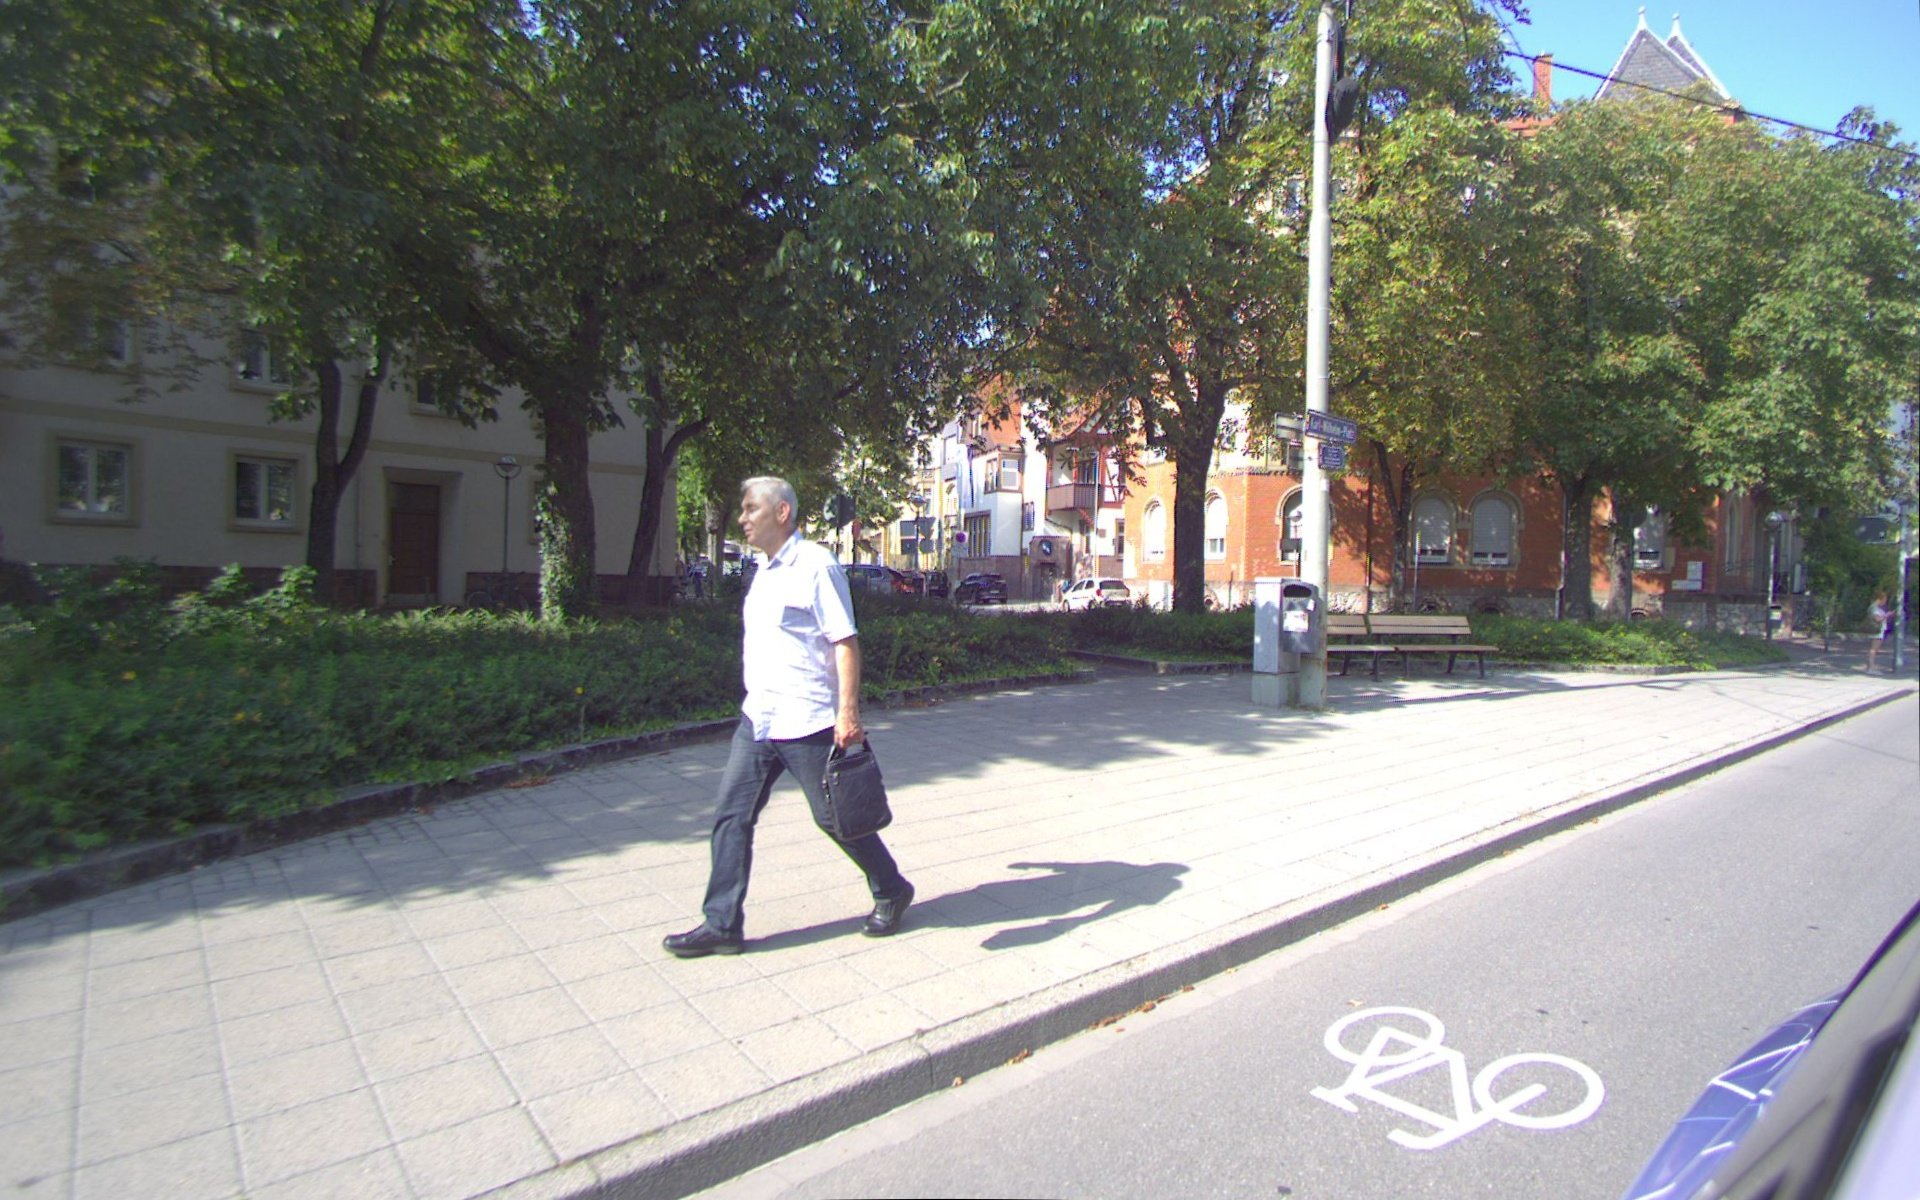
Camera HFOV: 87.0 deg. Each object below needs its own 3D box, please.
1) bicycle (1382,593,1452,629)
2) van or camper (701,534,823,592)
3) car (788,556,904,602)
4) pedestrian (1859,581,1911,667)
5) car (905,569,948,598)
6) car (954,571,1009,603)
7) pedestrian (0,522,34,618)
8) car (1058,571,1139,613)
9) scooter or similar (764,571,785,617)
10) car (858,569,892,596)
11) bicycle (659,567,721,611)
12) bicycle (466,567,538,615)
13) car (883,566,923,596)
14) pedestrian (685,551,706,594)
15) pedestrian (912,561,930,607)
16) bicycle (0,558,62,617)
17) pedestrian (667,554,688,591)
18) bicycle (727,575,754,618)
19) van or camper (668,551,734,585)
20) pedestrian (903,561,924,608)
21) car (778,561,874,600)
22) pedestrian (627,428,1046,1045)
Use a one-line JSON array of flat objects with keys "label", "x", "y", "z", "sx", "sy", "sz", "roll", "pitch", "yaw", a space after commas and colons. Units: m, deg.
[{"label": "bicycle", "x": 13.744, "y": 0.327, "z": 30.475, "sx": 1.805, "sy": 1.072, "sz": 0.608, "roll": 0, "pitch": -2, "yaw": 2}, {"label": "van or camper", "x": -11.807, "y": -2.154, "z": 60.400, "sx": 6.796, "sy": 2.919, "sz": 2.004, "roll": 4, "pitch": -2, "yaw": -21}, {"label": "car", "x": -4.380, "y": -0.798, "z": 38.892, "sx": 4.106, "sy": 1.658, "sz": 1.667, "roll": 1, "pitch": 1, "yaw": -20}, {"label": "pedestrian", "x": 19.139, "y": 0.495, "z": 20.934, "sx": 0.647, "sy": 1.739, "sz": 0.545, "roll": 1, "pitch": 1, "yaw": -25}, {"label": "car", "x": -2.146, "y": -1.053, "z": 63.234, "sx": 1.588, "sy": 1.722, "sz": 4.009, "roll": 1, "pitch": 1, "yaw": -19}, {"label": "car", "x": 1.099, "y": -0.724, "z": 53.311, "sx": 1.588, "sy": 1.586, "sz": 4.009, "roll": 1, "pitch": 1, "yaw": -19}, {"label": "pedestrian", "x": -17.198, "y": -0.532, "z": 18.074, "sx": 0.684, "sy": 1.692, "sz": 0.855, "roll": 2, "pitch": 1, "yaw": 35}, {"label": "car", "x": 5.529, "y": -0.367, "z": 40.856, "sx": 1.588, "sy": 1.586, "sz": 4.009, "roll": 1, "pitch": 1, "yaw": -19}, {"label": "scooter or similar", "x": -4.953, "y": -0.172, "z": 27.063, "sx": 0.433, "sy": 1.172, "sz": 1.114, "roll": 1, "pitch": 1, "yaw": -6}, {"label": "car", "x": -6.323, "y": -1.331, "z": 74.762, "sx": 1.588, "sy": 1.946, "sz": 4.009, "roll": 1, "pitch": 1, "yaw": -19}, {"label": "bicycle", "x": -6.927, "y": -0.295, "z": 25.926, "sx": 1.862, "sy": 1.071, "sz": 0.599, "roll": 2, "pitch": 1, "yaw": 41}, {"label": "bicycle", "x": -10.677, "y": -0.210, "z": 23.607, "sx": 1.460, "sy": 1.073, "sz": 0.417, "roll": 0, "pitch": 2, "yaw": -37}, {"label": "car", "x": -3.864, "y": -1.288, "z": 68.097, "sx": 1.588, "sy": 1.946, "sz": 4.009, "roll": 1, "pitch": 1, "yaw": -19}, {"label": "pedestrian", "x": -11.340, "y": -1.183, "z": 43.441, "sx": 0.754, "sy": 1.782, "sz": 0.860, "roll": 1, "pitch": 1, "yaw": -21}, {"label": "pedestrian", "x": -1.541, "y": -0.645, "z": 40.311, "sx": 0.581, "sy": 1.786, "sz": 0.605, "roll": 1, "pitch": 1, "yaw": 10}, {"label": "bicycle", "x": -17.002, "y": -0.223, "z": 17.692, "sx": 0.530, "sy": 1.019, "sz": 1.888, "roll": 2, "pitch": 1, "yaw": 31}, {"label": "pedestrian", "x": -12.052, "y": -1.181, "z": 43.177, "sx": 0.754, "sy": 1.566, "sz": 0.860, "roll": 1, "pitch": 1, "yaw": -21}, {"label": "bicycle", "x": -5.710, "y": -0.111, "z": 26.268, "sx": 0.596, "sy": 1.071, "sz": 1.843, "roll": 1, "pitch": 1, "yaw": -14}, {"label": "van or camper", "x": -26.376, "y": -3.234, "z": 103.070, "sx": 6.197, "sy": 2.919, "sz": 2.004, "roll": 4, "pitch": -2, "yaw": -20}, {"label": "pedestrian", "x": -1.801, "y": -0.617, "z": 39.427, "sx": 0.645, "sy": 1.786, "sz": 0.605, "roll": 1, "pitch": 1, "yaw": 12}, {"label": "car", "x": -6.134, "y": -0.880, "z": 46.290, "sx": 3.938, "sy": 1.480, "sz": 1.666, "roll": 4, "pitch": 0, "yaw": -25}, {"label": "pedestrian", "x": -0.463, "y": 0.348, "z": 3.555, "sx": 0.952, "sy": 1.745, "sz": 1.079, "roll": 0, "pitch": 4, "yaw": -41}]
